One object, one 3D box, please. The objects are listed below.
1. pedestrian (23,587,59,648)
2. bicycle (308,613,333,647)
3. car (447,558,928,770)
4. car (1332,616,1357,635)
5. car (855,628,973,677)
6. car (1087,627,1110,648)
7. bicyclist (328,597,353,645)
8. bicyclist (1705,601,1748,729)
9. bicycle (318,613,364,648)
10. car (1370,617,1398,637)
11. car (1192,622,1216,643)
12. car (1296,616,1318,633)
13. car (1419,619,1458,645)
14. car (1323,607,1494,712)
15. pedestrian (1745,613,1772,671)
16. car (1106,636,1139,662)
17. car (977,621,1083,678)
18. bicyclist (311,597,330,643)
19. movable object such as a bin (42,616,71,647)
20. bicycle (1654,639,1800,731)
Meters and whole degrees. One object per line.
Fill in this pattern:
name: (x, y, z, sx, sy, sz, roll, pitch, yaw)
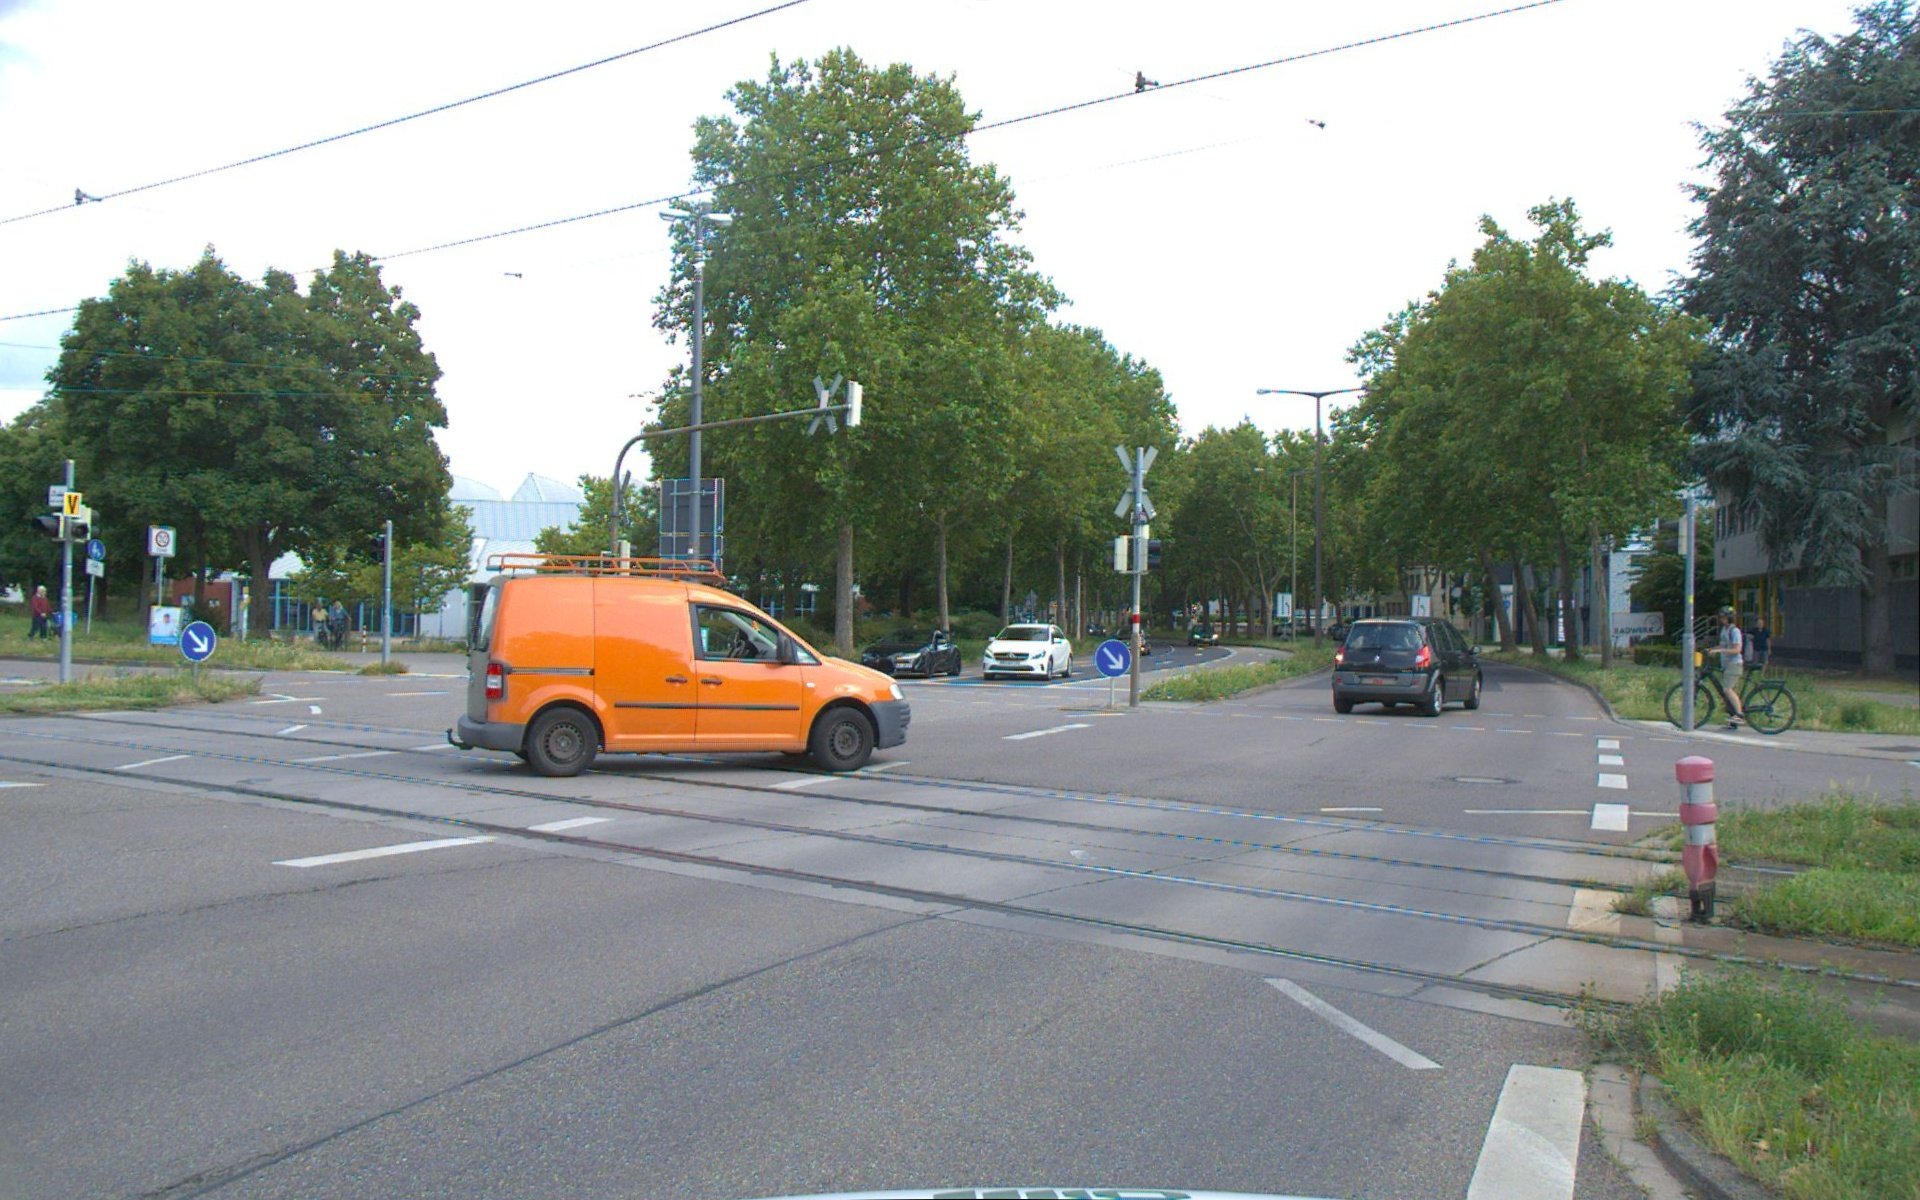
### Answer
pedestrian: (-25.544, 0.469, 45.992, 0.622, 1.673, 0.614, 0, 1, 11)
bicycle: (-22.359, 1.042, 57.848, 0.555, 1.150, 1.365, 1, -1, -32)
car: (-2.647, 0.599, 16.001, 4.293, 1.831, 1.872, 1, -1, -21)
car: (36.889, 2.454, 158.912, 1.951, 1.601, 4.004, 0, 1, 8)
car: (-1.189, 1.361, 44.006, 1.602, 1.212, 3.704, 1, -1, 26)
car: (14.130, 3.784, 168.961, 1.952, 2.049, 4.000, 1, 0, 1)
bicyclist: (-20.828, 0.723, 55.639, 0.543, 1.581, 0.487, 2, -1, 19)
bicyclist: (11.299, 0.944, 24.372, 0.533, 1.841, 0.540, 1, 1, 28)
bicycle: (-20.824, 1.025, 55.629, 1.347, 1.150, 0.562, 1, -2, 19)
car: (36.637, 2.337, 142.968, 1.951, 1.601, 4.004, 0, 1, 8)
car: (17.312, 2.310, 117.139, 1.621, 1.293, 3.775, 0, 1, 9)
car: (36.147, 2.556, 172.558, 1.951, 1.601, 4.004, 0, 1, 8)
car: (32.372, 2.140, 112.018, 1.951, 1.601, 4.004, 0, 1, 8)
car: (7.732, 0.981, 28.302, 1.699, 1.659, 4.041, 0, -1, 33)
pedestrian: (22.514, 1.171, 46.651, 0.607, 1.597, 0.559, 1, 1, 19)
car: (8.263, 2.449, 83.938, 1.600, 1.212, 3.710, 1, 0, 6)
car: (1.909, 1.270, 43.637, 1.787, 1.388, 4.140, 1, -1, 17)
bicyclist: (-22.392, 0.701, 57.920, 0.481, 1.581, 0.550, 3, -2, -33)
movable object such as a bin: (-25.070, 0.878, 45.908, 0.448, 0.825, 0.579, 0, 1, 10)
bicycle: (11.300, 1.236, 24.382, 1.909, 1.257, 0.540, 1, 1, 29)
